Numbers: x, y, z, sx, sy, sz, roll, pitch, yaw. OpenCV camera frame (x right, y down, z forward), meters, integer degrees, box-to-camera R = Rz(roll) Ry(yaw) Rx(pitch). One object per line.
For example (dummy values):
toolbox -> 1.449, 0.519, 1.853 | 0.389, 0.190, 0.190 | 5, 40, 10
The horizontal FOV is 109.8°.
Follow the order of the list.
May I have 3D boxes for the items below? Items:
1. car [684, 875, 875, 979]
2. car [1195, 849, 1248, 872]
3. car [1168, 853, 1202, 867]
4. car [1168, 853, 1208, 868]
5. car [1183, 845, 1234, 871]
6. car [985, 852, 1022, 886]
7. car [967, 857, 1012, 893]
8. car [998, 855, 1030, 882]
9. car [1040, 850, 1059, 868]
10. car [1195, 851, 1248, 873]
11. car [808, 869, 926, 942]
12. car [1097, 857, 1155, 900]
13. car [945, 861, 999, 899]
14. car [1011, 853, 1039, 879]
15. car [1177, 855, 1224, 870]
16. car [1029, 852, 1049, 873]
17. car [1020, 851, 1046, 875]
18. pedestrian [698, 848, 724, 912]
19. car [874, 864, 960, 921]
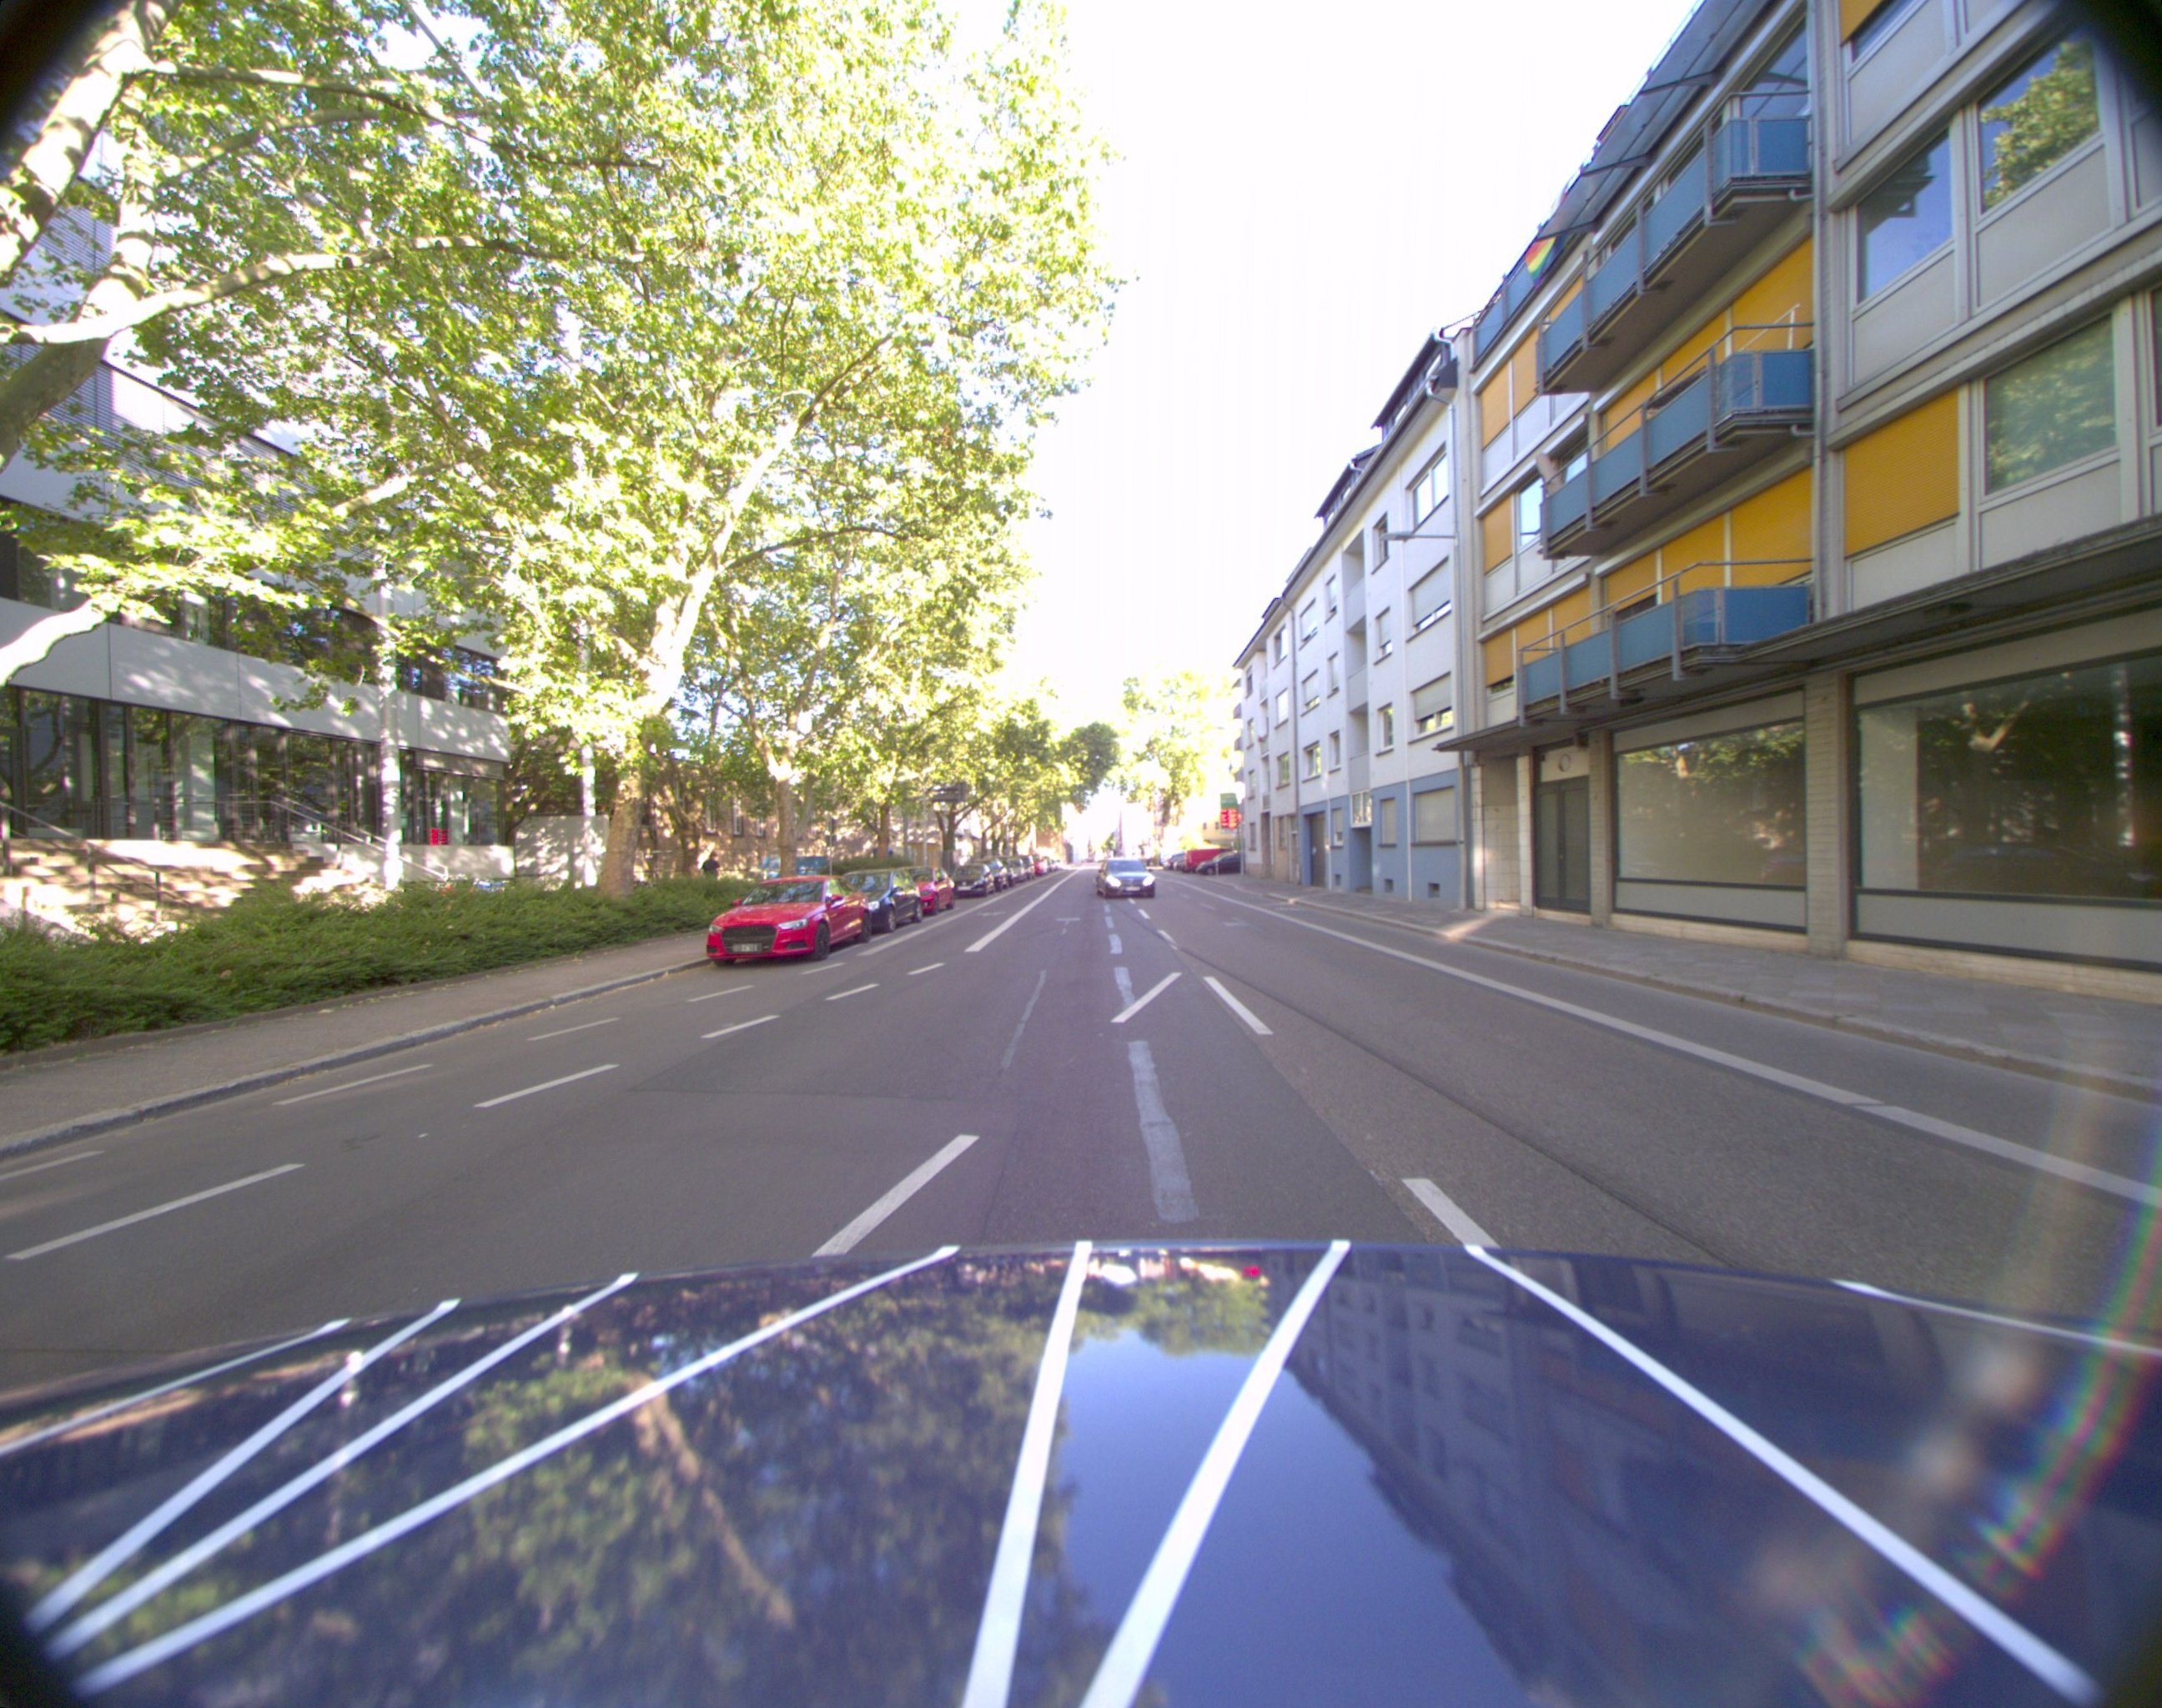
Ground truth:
car -> -5.162, 1.176, 13.652 | 1.794, 1.384, 3.999 | -2, 1, 0
car -> 10.533, 0.478, 57.092 | 3.687, 1.503, 1.490 | -2, 1, 2
car -> 10.321, 0.574, 75.461 | 3.271, 1.238, 1.345 | -2, 1, 2
car -> 10.266, 0.619, 73.024 | 3.687, 1.238, 1.345 | -2, 1, 2
car -> 10.059, 0.314, 59.937 | 3.688, 1.897, 1.490 | -2, -1, -1
car -> -4.456, 0.848, 44.234 | 1.634, 1.781, 4.576 | -2, 1, 0
car -> -4.519, 0.987, 38.101 | 1.634, 1.569, 4.231 | -2, 1, 0
car -> -4.355, 0.934, 50.106 | 1.634, 1.604, 4.576 | -2, 1, 0
car -> -3.812, 0.580, 92.046 | 1.998, 2.002, 4.000 | -2, 0, 1
car -> 10.090, 0.583, 54.723 | 3.508, 1.380, 1.490 | -2, 1, 2
car -> -5.051, 1.159, 18.405 | 1.669, 1.410, 3.697 | -2, 1, 1
car -> 1.607, 0.861, 28.732 | 1.753, 1.423, 4.264 | -2, 0, -2
car -> -4.694, 1.107, 33.231 | 1.692, 1.414, 3.923 | -2, 1, 0
car -> -4.039, 0.809, 55.234 | 1.634, 1.725, 3.769 | -2, 1, 0
car -> 9.811, 0.686, 62.582 | 3.687, 1.122, 1.345 | -2, 1, 2
car -> -3.905, 0.800, 70.997 | 1.599, 1.835, 3.769 | -2, 1, 0
car -> -4.172, 0.716, 66.086 | 1.915, 1.940, 3.769 | -2, 1, 0
pedestrian -> -11.804, 0.826, 24.258 | 0.552, 2.002, 0.562 | -2, 1, -11
car -> -5.014, 1.129, 23.679 | 1.692, 1.441, 3.923 | -2, 1, 1
